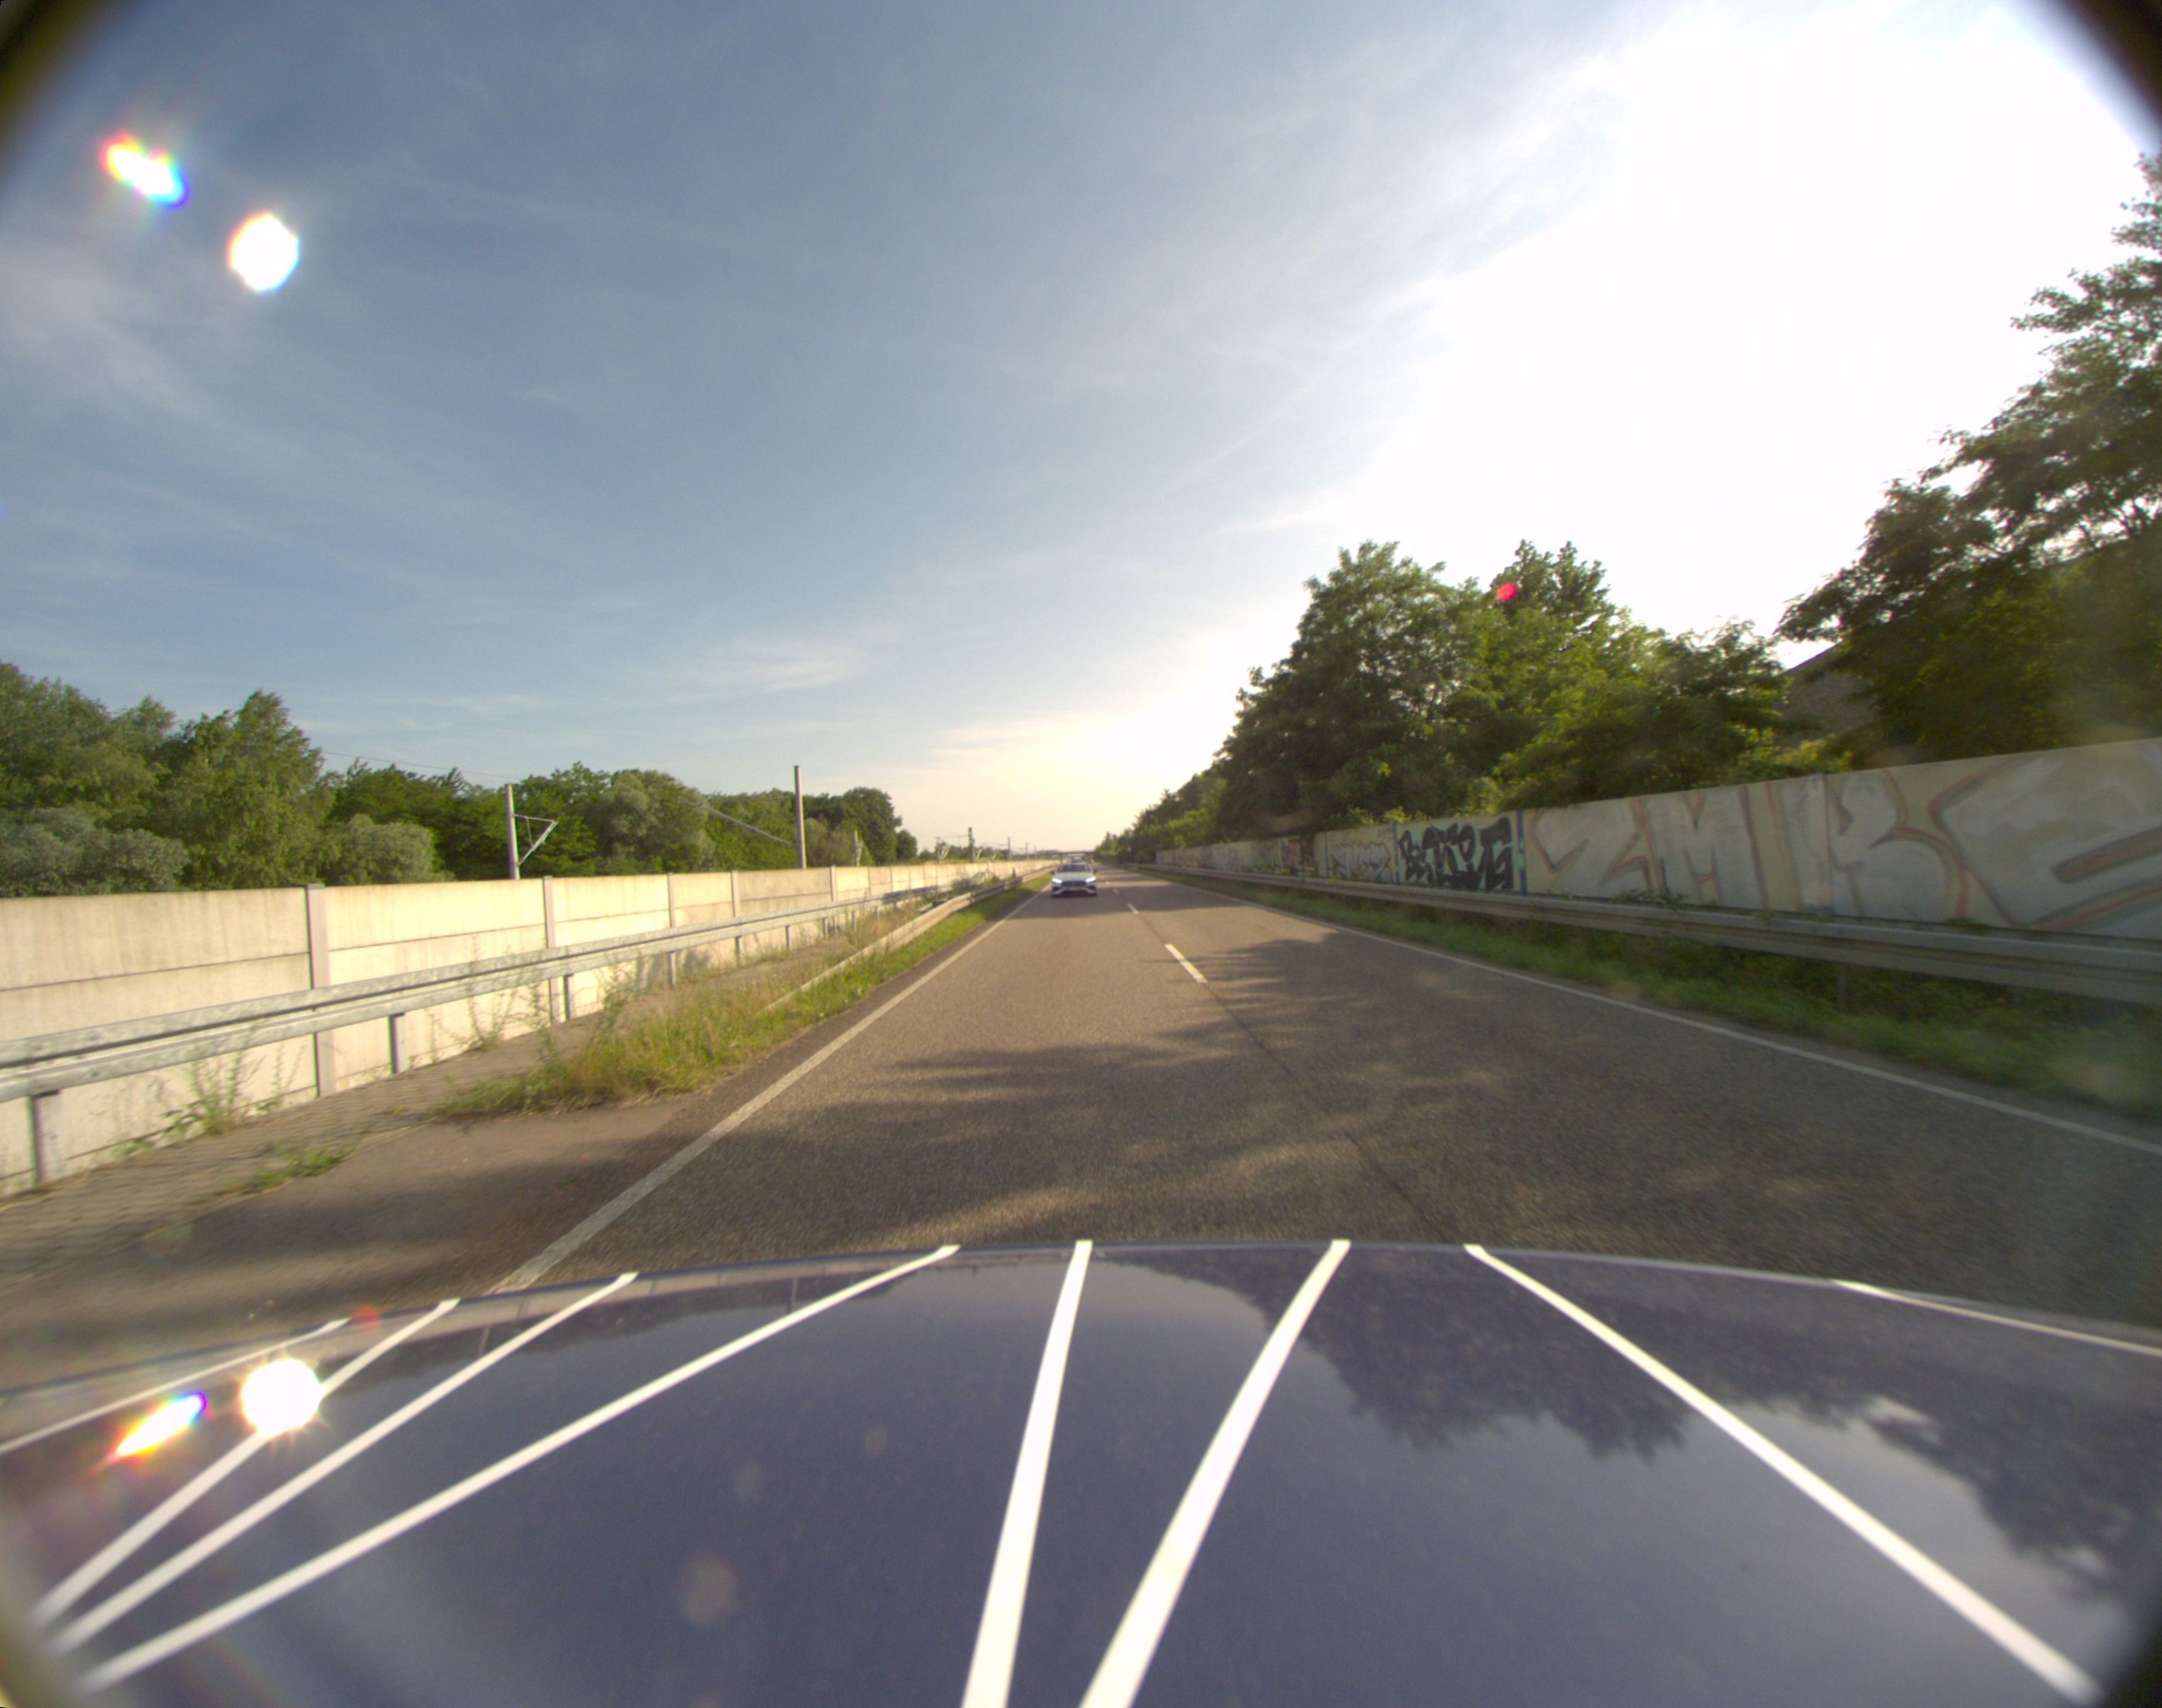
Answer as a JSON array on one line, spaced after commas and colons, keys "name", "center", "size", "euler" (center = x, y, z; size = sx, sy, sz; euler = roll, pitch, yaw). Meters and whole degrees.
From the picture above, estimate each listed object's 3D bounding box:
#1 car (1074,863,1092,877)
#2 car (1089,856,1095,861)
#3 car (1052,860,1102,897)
[{"name": "car", "center": [0.219, 1.832, 87.987], "size": [1.953, 1.430, 4.612], "euler": [-3, 0, 0]}, {"name": "car", "center": [3.395, 1.352, 226.934], "size": [1.724, 1.386, 4.360], "euler": [-2, 0, 0]}, {"name": "car", "center": [-0.143, 1.008, 32.690], "size": [1.953, 1.430, 4.612], "euler": [-2, 0, 0]}]
